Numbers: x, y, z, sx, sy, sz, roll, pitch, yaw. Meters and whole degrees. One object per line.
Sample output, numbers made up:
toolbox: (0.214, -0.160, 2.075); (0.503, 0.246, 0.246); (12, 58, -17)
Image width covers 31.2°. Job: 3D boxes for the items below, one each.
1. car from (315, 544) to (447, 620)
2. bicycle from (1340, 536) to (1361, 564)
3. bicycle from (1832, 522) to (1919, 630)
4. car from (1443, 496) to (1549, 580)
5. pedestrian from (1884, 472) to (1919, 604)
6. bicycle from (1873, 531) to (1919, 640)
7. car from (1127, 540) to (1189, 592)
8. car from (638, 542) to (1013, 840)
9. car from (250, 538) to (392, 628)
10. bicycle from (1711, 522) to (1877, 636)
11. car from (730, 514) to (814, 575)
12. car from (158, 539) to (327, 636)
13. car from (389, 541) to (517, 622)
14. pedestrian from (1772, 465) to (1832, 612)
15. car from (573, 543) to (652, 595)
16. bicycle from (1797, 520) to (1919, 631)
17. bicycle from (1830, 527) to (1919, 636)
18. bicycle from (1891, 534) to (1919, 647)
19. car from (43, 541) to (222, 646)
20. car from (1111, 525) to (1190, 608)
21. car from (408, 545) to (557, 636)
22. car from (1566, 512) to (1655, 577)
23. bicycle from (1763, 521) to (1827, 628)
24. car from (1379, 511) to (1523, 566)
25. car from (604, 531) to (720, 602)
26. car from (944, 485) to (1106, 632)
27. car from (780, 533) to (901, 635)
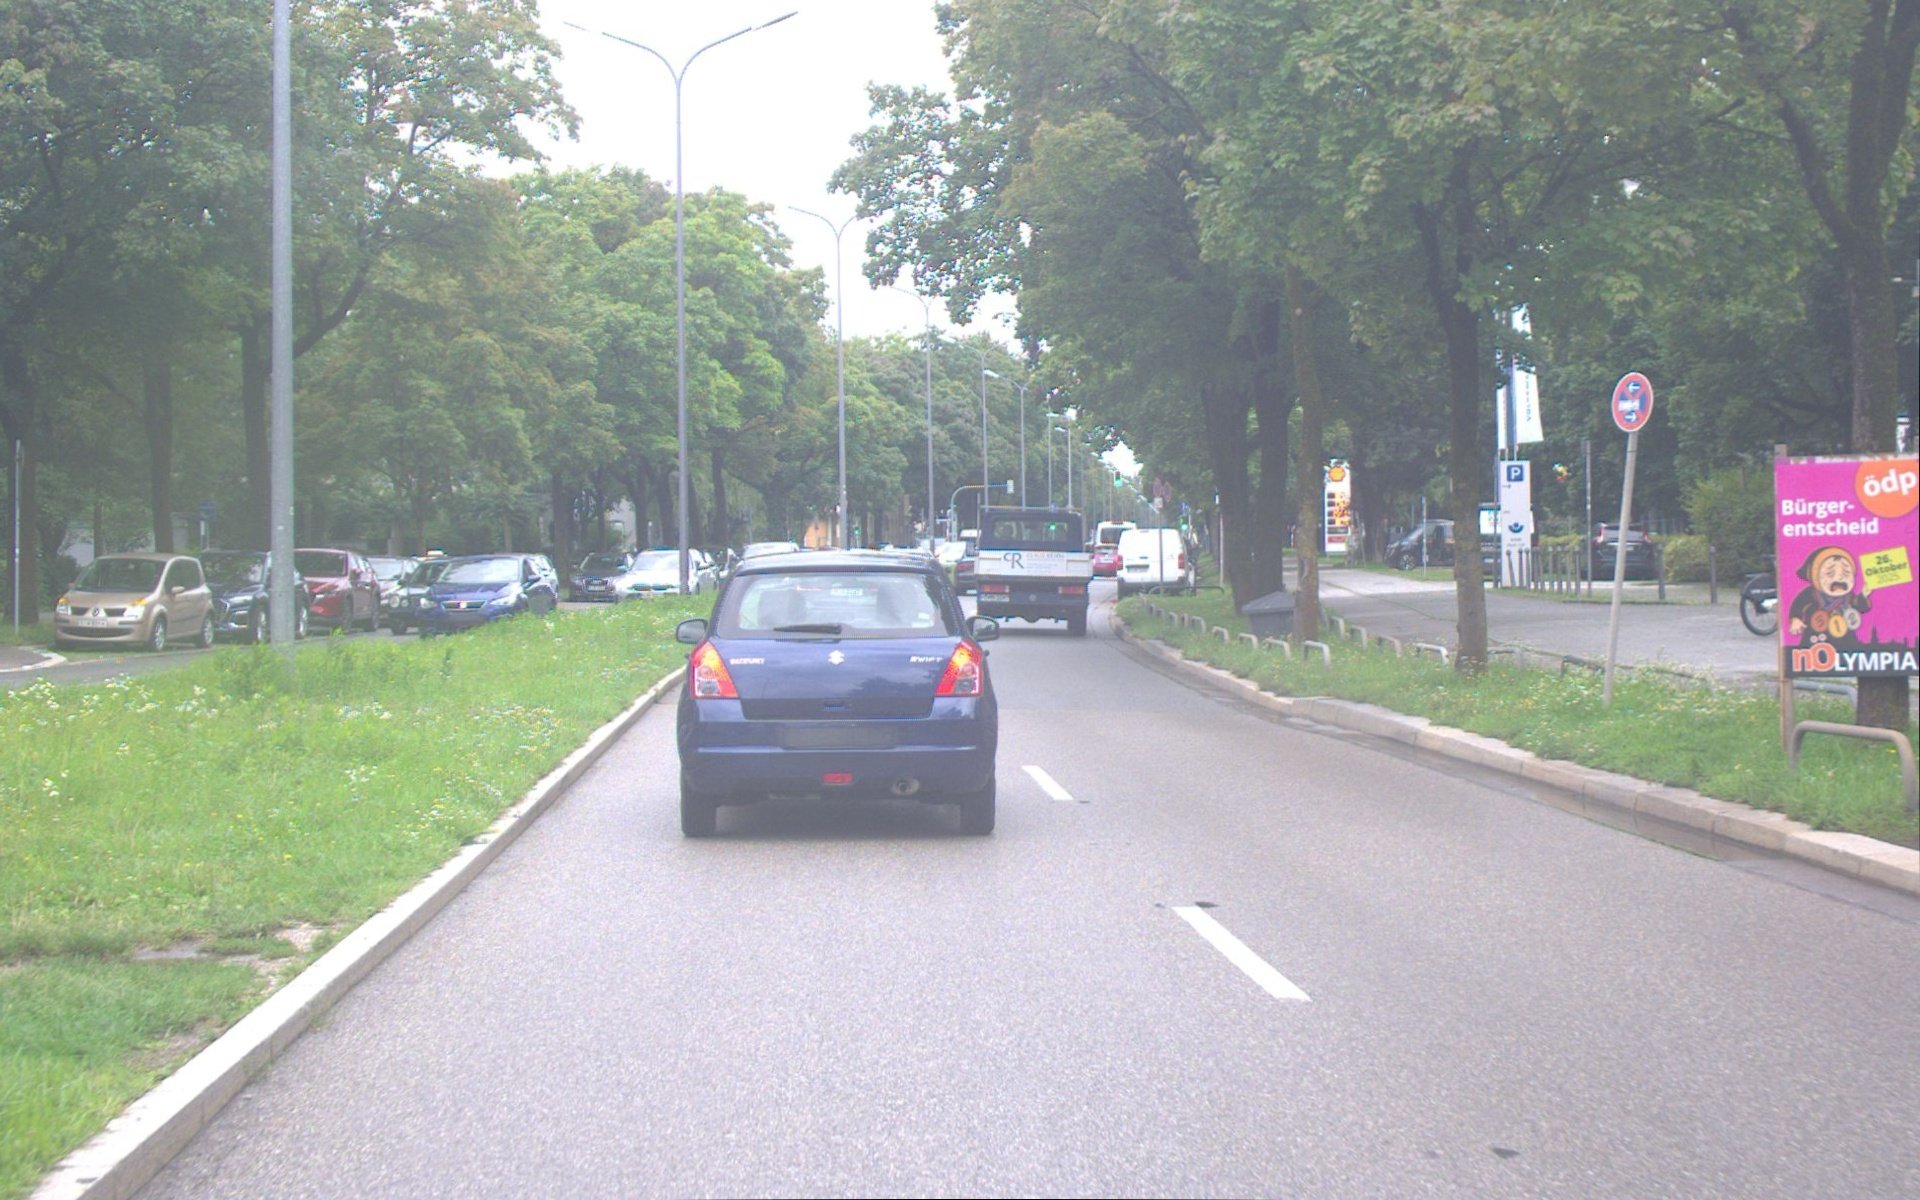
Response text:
car: (-12.145, -0.407, 72.347); (1.739, 1.477, 4.333); (2, 1, 4)
bicycle: (16.613, -2.149, 146.339); (0.748, 1.179, 2.246); (-1, 1, 4)
bicycle: (10.519, -0.287, 38.127); (1.949, 1.079, 0.597); (-5, 3, -41)
car: (15.510, -1.801, 99.784); (2.265, 2.299, 6.268); (-1, 1, 2)
pedestrian: (12.560, -0.820, 45.145); (0.783, 1.708, 0.750); (-1, 1, 14)
bicycle: (10.370, -0.193, 35.729); (2.035, 1.085, 0.604); (-3, -1, -41)
car: (5.742, -0.996, 99.282); (1.702, 1.392, 4.232); (-1, 1, 4)
car: (-0.654, 0.432, 19.262); (1.896, 1.494, 3.660); (0, 1, 1)
car: (-12.471, -0.367, 67.343); (1.739, 1.646, 4.606); (1, 1, 2)
bicycle: (9.700, -0.252, 39.959); (1.948, 1.185, 0.597); (-5, 3, -30)
car: (-5.169, -1.550, 95.120); (1.766, 1.619, 4.376); (-1, 1, 4)
car: (-12.798, -0.255, 61.612); (1.739, 1.638, 4.684); (1, 1, 4)
car: (-9.784, -0.380, 66.609); (1.692, 1.479, 3.967); (-1, 1, 3)
pedestrian: (10.995, -0.804, 44.879); (0.652, 1.893, 0.748); (-1, 1, 21)
car: (-10.099, -0.923, 100.121); (1.580, 1.418, 4.362); (2, 1, 3)
bicycle: (10.419, -0.290, 39.298); (1.949, 1.104, 0.580); (-7, 5, -41)
bicycle: (10.136, -0.225, 36.693); (1.949, 1.062, 0.580); (-5, 2, -41)
bicycle: (10.108, -0.150, 34.154); (2.026, 1.095, 0.580); (-4, 1, -41)
car: (-13.353, -0.143, 55.666); (1.647, 1.608, 3.818); (1, 1, 5)
car: (5.195, -0.936, 92.965); (1.987, 2.150, 5.555); (-1, 1, 4)
car: (-7.834, -0.184, 56.715); (1.692, 1.397, 3.967); (-1, 1, 3)
car: (18.914, -1.624, 100.117); (1.842, 1.812, 4.472); (-1, 1, 2)
bicycle: (10.398, -0.329, 42.831); (0.530, 1.222, 1.861); (-3, 3, 8)
car: (19.360, -2.430, 135.773); (5.470, 2.076, 2.147); (-1, 1, 4)
car: (-6.581, -0.770, 76.424); (1.915, 1.479, 4.865); (-1, 1, 3)
car: (1.189, -0.740, 60.053); (2.419, 2.435, 5.086); (1, 1, 5)
car: (-1.869, -0.273, 53.621); (1.799, 1.494, 3.660); (-1, 1, -2)
